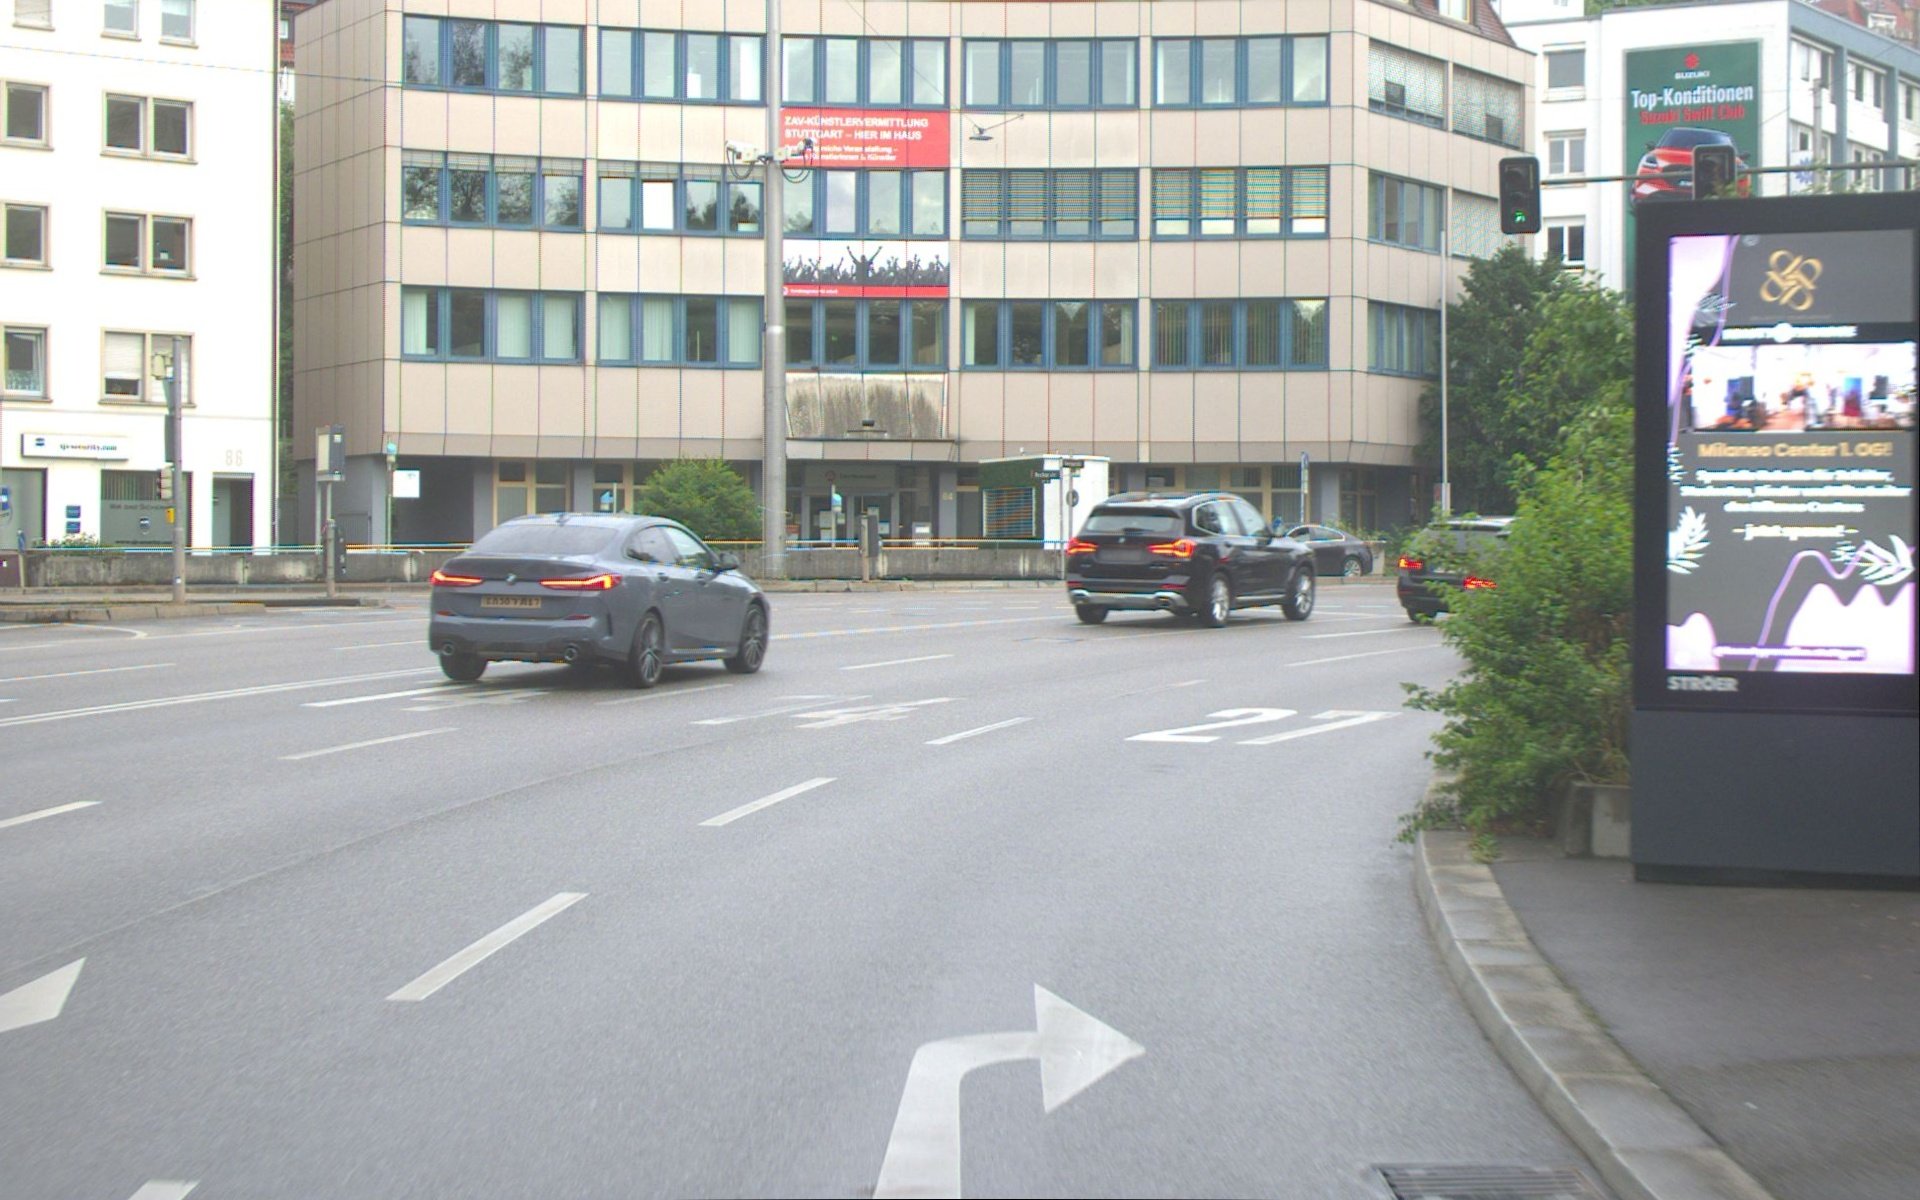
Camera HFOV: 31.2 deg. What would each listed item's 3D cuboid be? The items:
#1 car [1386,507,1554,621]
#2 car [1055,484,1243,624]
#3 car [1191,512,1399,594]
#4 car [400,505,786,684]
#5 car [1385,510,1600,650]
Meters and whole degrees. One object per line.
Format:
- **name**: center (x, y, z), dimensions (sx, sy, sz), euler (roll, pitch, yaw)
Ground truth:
- **car**: center (6.843, -0.508, 45.787), dimensions (1.792, 1.421, 4.610), euler (1, 1, 14)
- **car**: center (2.452, -0.573, 43.613), dimensions (1.901, 1.687, 3.998), euler (0, 0, 10)
- **car**: center (7.674, -1.074, 78.752), dimensions (4.426, 1.837, 2.000), euler (0, 0, -32)
- **car**: center (-3.064, -0.060, 29.665), dimensions (1.792, 1.422, 4.381), euler (0, 0, 16)
- **car**: center (5.794, -0.214, 37.063), dimensions (1.959, 1.422, 4.123), euler (0, 0, 13)
